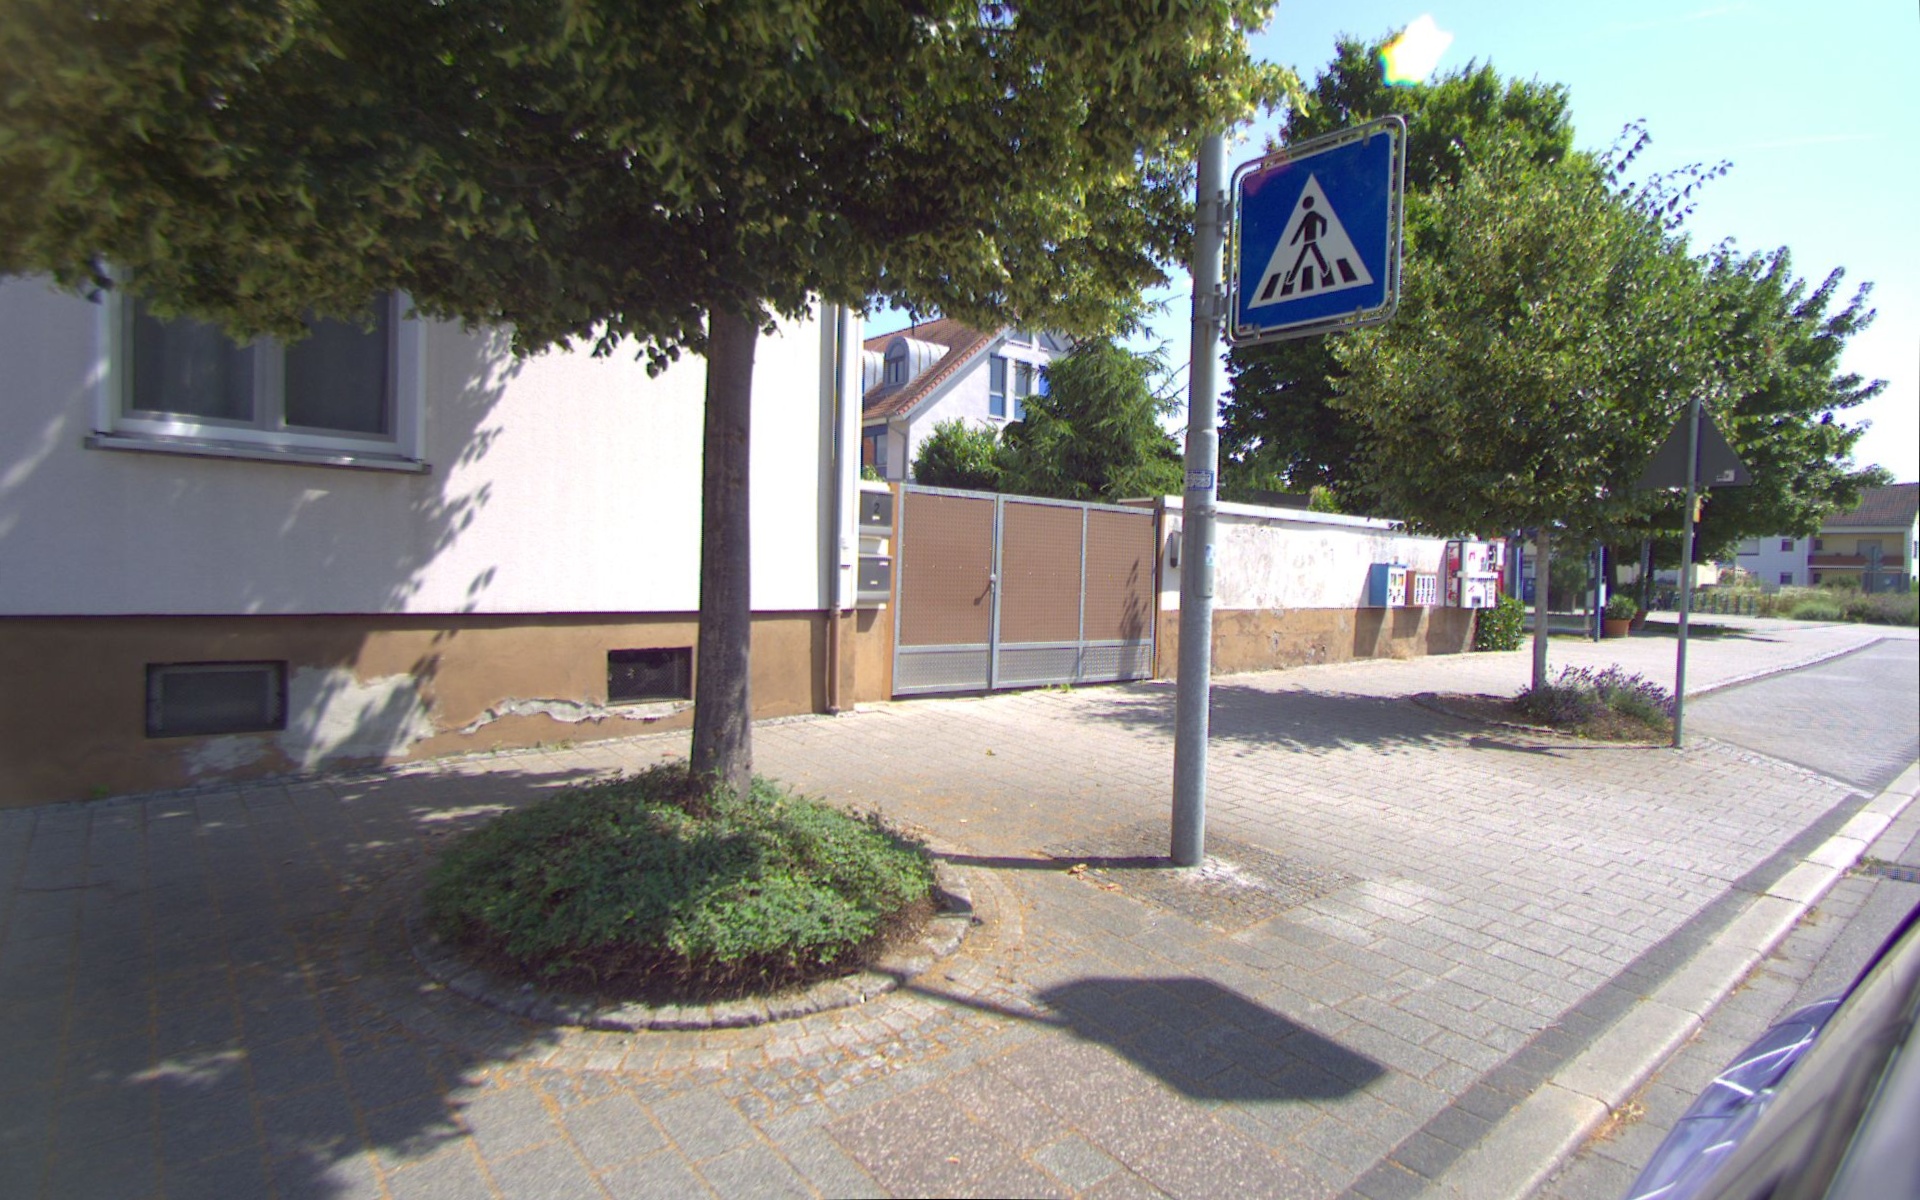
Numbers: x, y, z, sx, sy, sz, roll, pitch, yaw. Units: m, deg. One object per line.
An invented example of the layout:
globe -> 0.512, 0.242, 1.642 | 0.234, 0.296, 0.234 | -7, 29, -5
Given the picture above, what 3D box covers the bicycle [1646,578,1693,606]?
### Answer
bicycle -> 30.039, -0.366, 42.836 | 2.583, 1.125, 0.839 | -1, 3, -38
